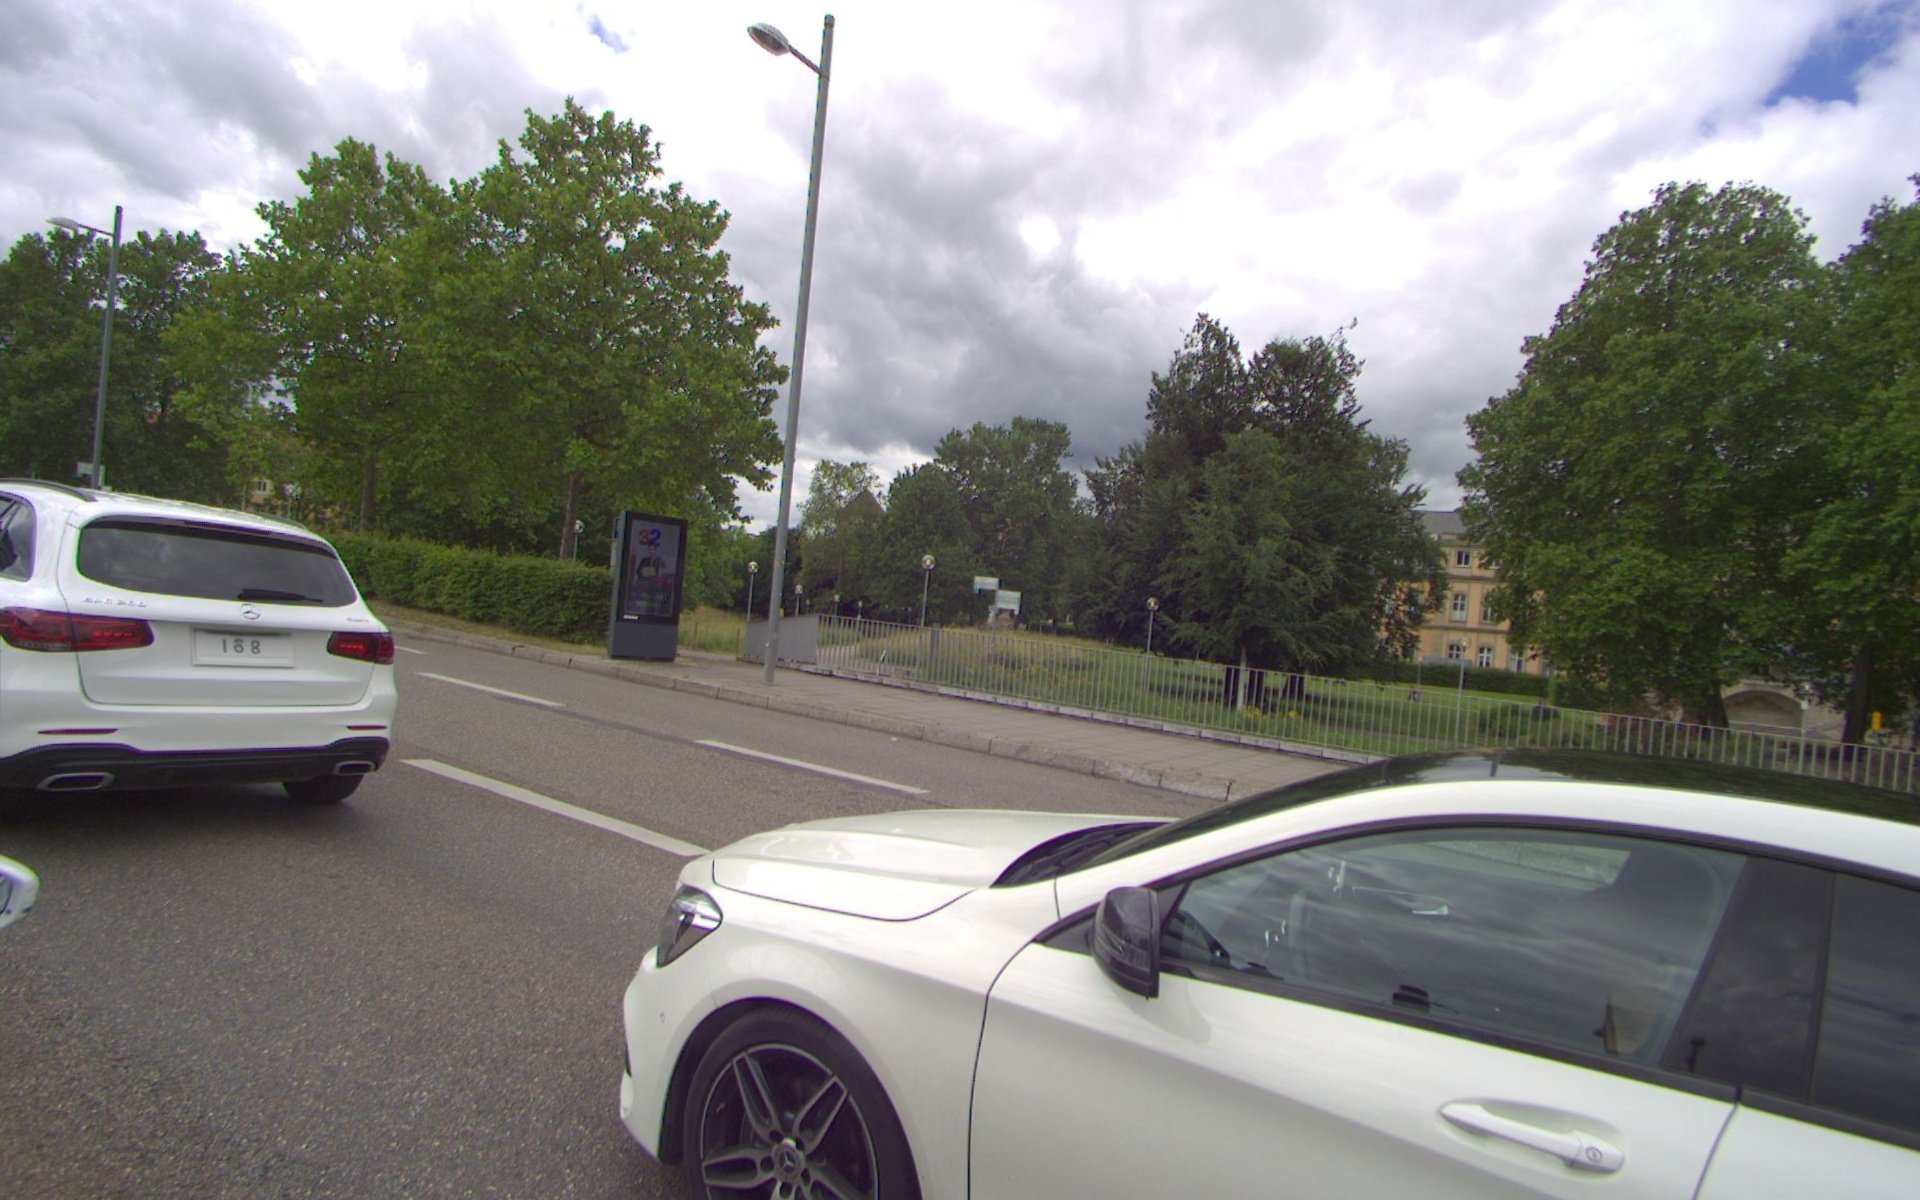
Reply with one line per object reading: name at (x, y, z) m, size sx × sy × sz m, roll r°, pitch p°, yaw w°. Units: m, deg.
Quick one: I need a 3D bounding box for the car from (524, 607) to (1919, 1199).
car at (1.275, 1.011, 2.139) m, size 4.432 × 1.440 × 1.722 m, roll 6°, pitch -2°, yaw 32°

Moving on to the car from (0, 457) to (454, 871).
car at (-5.158, 0.135, 5.945) m, size 4.307 × 1.667 × 1.821 m, roll 7°, pitch -1°, yaw 33°
